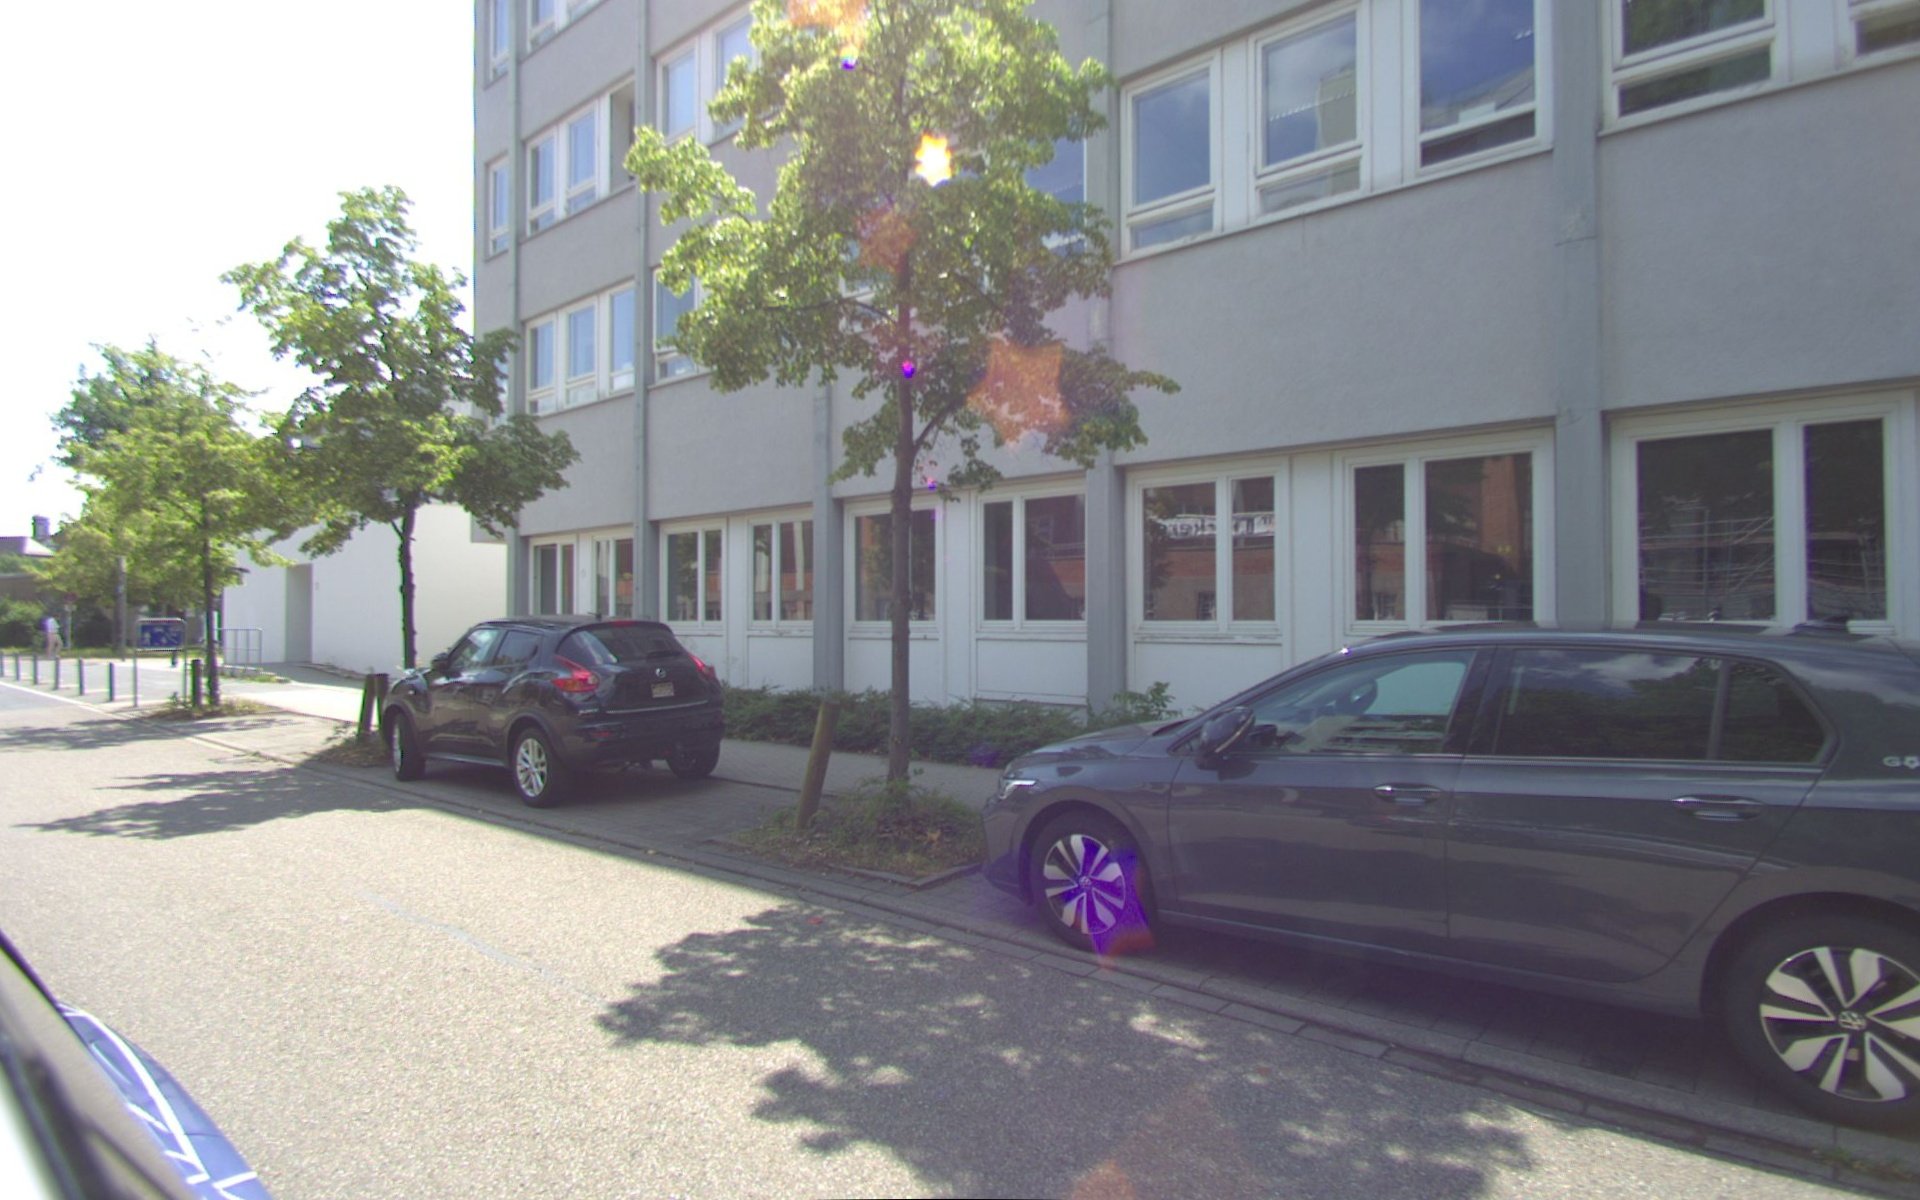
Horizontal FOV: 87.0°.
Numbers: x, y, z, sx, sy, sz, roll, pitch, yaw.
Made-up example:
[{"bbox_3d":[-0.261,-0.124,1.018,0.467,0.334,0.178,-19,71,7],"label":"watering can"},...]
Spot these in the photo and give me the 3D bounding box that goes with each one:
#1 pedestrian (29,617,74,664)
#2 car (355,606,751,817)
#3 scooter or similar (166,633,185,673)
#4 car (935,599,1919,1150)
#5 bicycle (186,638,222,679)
[{"bbox_3d":[-36.954,1.651,41.187,1.007,1.862,0.919,2,-3,-19],"label":"pedestrian"},{"bbox_3d":[-3.936,0.883,9.500,4.063,1.576,1.680,-1,-2,39],"label":"car"},{"bbox_3d":[-25.748,1.725,33.223,0.476,1.272,1.316,1,-2,-38],"label":"scooter or similar"},{"bbox_3d":[2.094,0.768,4.249,4.253,1.472,1.761,-1,-1,39],"label":"car"},{"bbox_3d":[-20.885,1.598,27.943,0.537,1.069,1.900,1,-2,-45],"label":"bicycle"}]
